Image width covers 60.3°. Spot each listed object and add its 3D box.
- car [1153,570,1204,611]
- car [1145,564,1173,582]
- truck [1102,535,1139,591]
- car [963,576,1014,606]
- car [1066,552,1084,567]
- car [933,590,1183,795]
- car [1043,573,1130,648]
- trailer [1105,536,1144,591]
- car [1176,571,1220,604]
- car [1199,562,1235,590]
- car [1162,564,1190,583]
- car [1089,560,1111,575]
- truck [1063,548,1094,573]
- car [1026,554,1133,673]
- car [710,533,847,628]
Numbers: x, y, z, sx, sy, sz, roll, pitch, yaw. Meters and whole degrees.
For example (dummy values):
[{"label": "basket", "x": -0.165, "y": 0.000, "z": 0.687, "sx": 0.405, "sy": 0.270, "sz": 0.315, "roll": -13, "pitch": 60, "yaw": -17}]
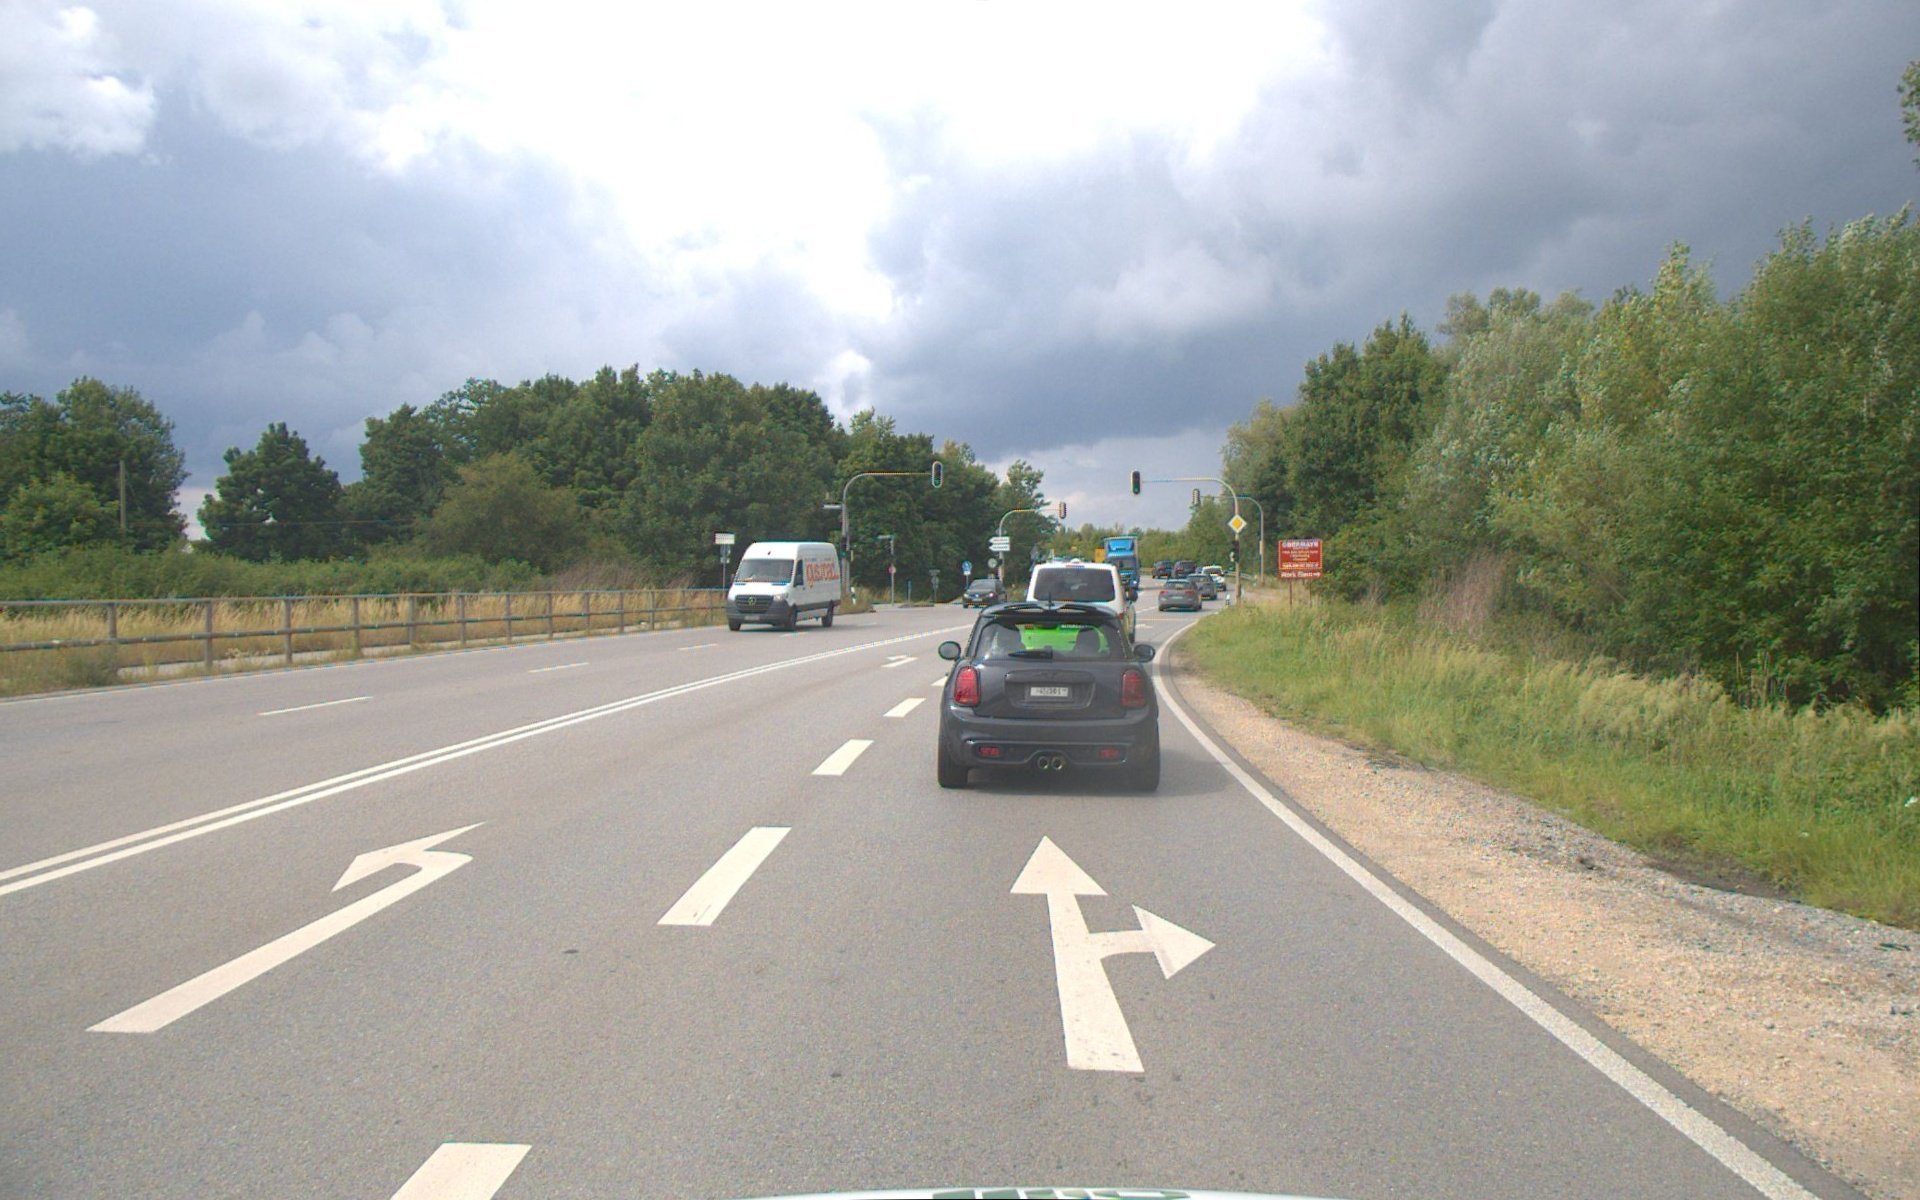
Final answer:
[{"label": "car", "x": 10.050, "y": -0.417, "z": 75.824, "sx": 1.951, "sy": 1.713, "sz": 4.003, "roll": 1, "pitch": -1, "yaw": 12}, {"label": "car", "x": 19.843, "y": -2.666, "z": 165.215, "sx": 1.954, "sy": 1.725, "sz": 4.481, "roll": 0, "pitch": 1, "yaw": -5}, {"label": "truck", "x": 12.237, "y": -2.801, "z": 125.648, "sx": 2.485, "sy": 4.167, "sz": 4.004, "roll": 0, "pitch": 1, "yaw": 10}, {"label": "car", "x": 1.497, "y": -0.470, "z": 85.255, "sx": 1.904, "sy": 1.466, "sz": 4.004, "roll": 0, "pitch": 0, "yaw": 11}, {"label": "car", "x": 16.414, "y": -5.790, "z": 236.545, "sx": 2.136, "sy": 2.049, "sz": 3.998, "roll": 1, "pitch": -1, "yaw": -2}, {"label": "car", "x": 0.713, "y": 0.663, "z": 13.988, "sx": 1.807, "sy": 1.453, "sz": 3.841, "roll": 1, "pitch": 1, "yaw": 0}, {"label": "car", "x": 3.082, "y": 0.253, "z": 39.716, "sx": 1.951, "sy": 1.713, "sz": 4.003, "roll": 0, "pitch": 0, "yaw": 6}, {"label": "trailer", "x": 12.899, "y": -2.832, "z": 129.173, "sx": 2.473, "sy": 4.172, "sz": 6.741, "roll": 0, "pitch": 1, "yaw": 10}, {"label": "car", "x": 13.505, "y": -0.674, "z": 93.589, "sx": 1.951, "sy": 1.713, "sz": 3.980, "roll": 1, "pitch": -1, "yaw": 15}, {"label": "car", "x": 17.168, "y": -1.596, "z": 110.520, "sx": 1.951, "sy": 1.713, "sz": 4.002, "roll": 1, "pitch": -1, "yaw": 15}, {"label": "car", "x": 19.344, "y": -2.367, "z": 148.337, "sx": 1.953, "sy": 1.725, "sz": 4.485, "roll": 0, "pitch": 1, "yaw": -1}, {"label": "car", "x": 16.790, "y": -3.859, "z": 198.819, "sx": 1.954, "sy": 1.818, "sz": 4.481, "roll": 0, "pitch": 1, "yaw": -5}, {"label": "truck", "x": 15.422, "y": -5.131, "z": 215.531, "sx": 2.664, "sy": 2.948, "sz": 8.760, "roll": 1, "pitch": 0, "yaw": -5}, {"label": "car", "x": 2.197, "y": 0.217, "z": 30.334, "sx": 1.806, "sy": 2.021, "sz": 3.843, "roll": 1, "pitch": 0, "yaw": 4}, {"label": "car", "x": -5.503, "y": -0.590, "z": 51.236, "sx": 2.381, "sy": 2.721, "sz": 6.894, "roll": 0, "pitch": 0, "yaw": 10}]
